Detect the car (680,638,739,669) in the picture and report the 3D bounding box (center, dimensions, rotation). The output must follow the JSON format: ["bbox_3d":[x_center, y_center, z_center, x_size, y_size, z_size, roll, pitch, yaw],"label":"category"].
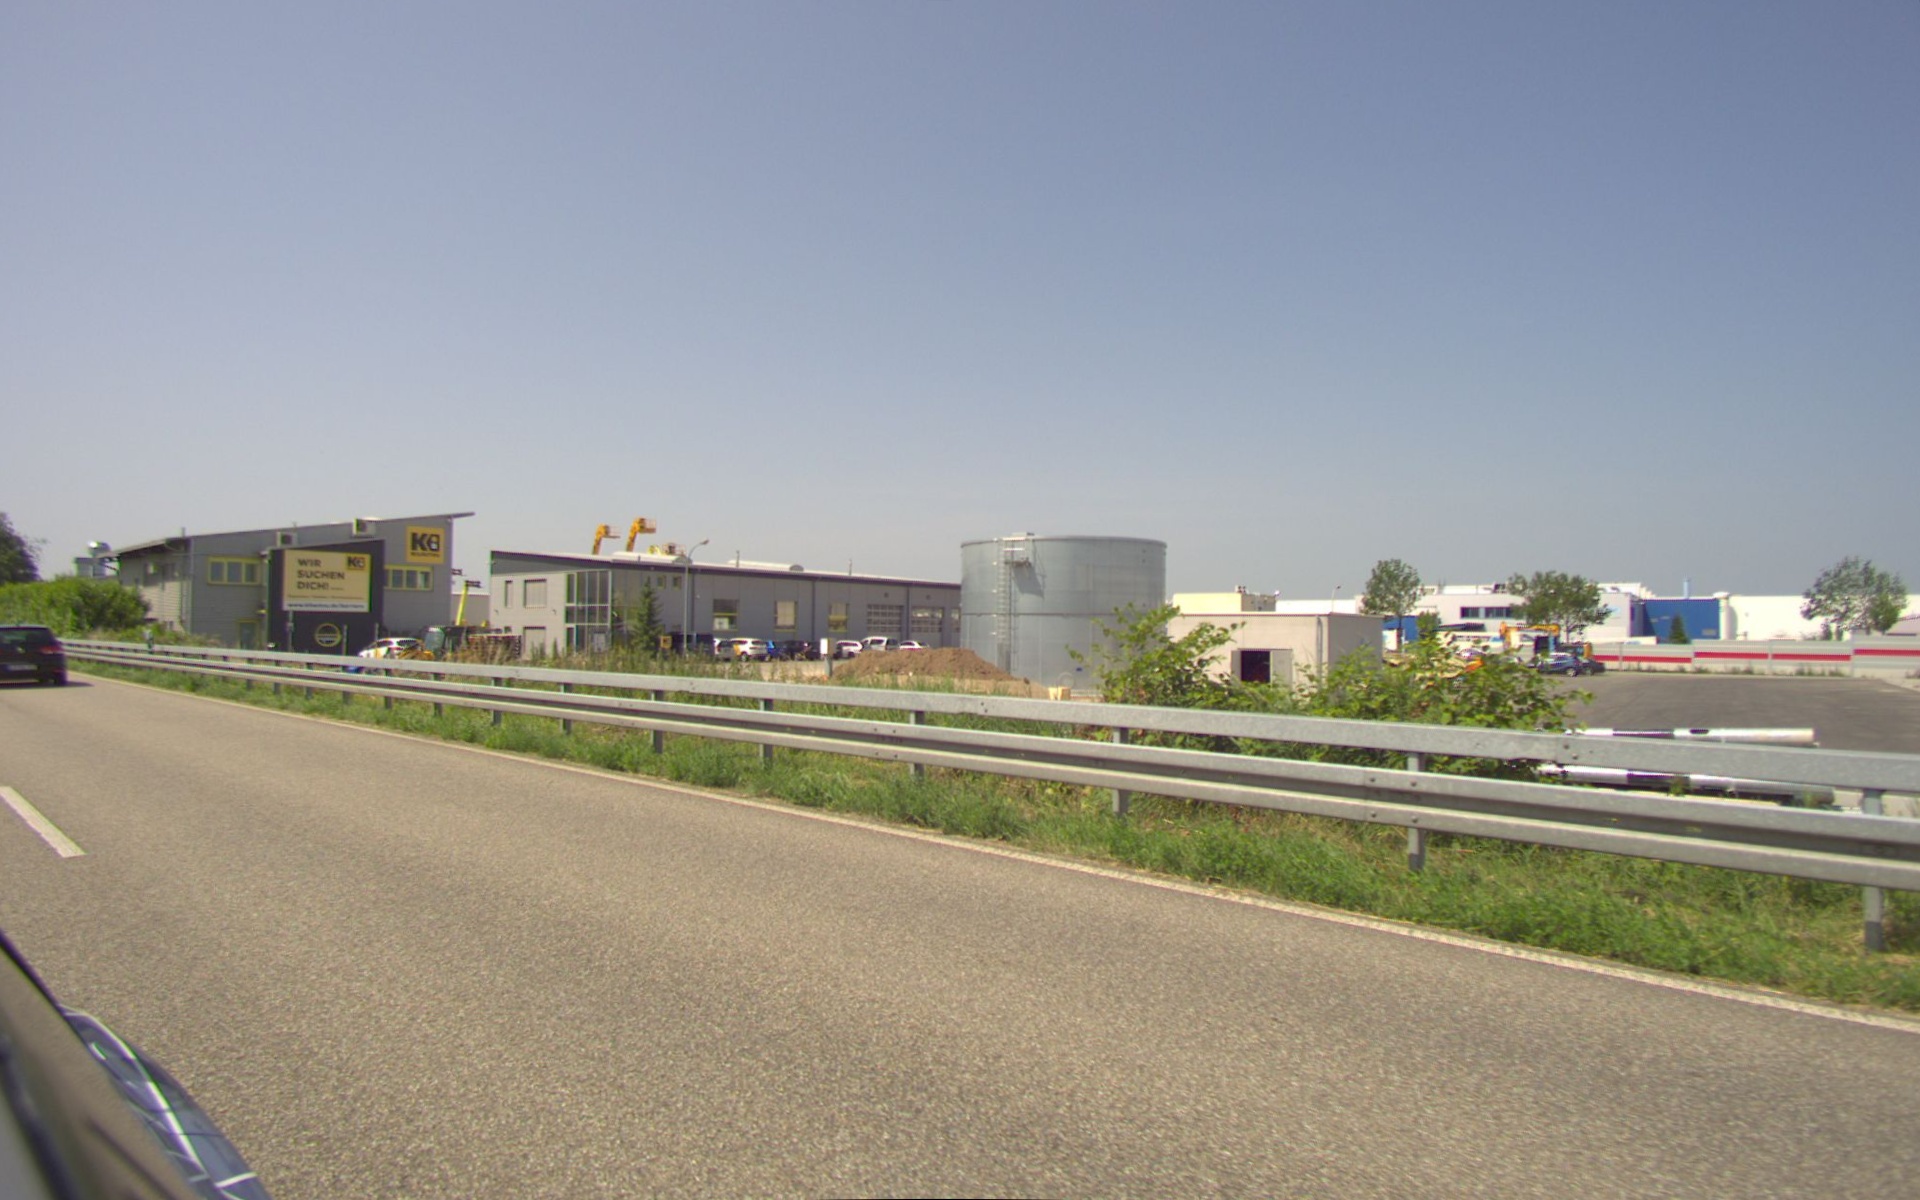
[{"bbox_3d":[-17.012,3.602,68.666,3.997,2.029,1.973,-1,-2,40],"label":"car"}]

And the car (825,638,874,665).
[{"bbox_3d":[-8.695,4.007,79.484,3.688,2.029,1.810,-1,-4,42],"label":"car"}]

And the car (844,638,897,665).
[{"bbox_3d":[-7.218,4.132,81.381,3.997,2.029,1.973,-1,-1,40],"label":"car"}]

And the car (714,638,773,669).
[{"bbox_3d":[-15.188,3.732,70.899,3.997,2.029,1.973,-1,-3,40],"label":"car"}]

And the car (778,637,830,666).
[{"bbox_3d":[-11.502,3.753,74.452,3.688,2.029,1.810,-1,-4,42],"label":"car"}]

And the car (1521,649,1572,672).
[{"bbox_3d":[50.486,5.209,87.141,3.652,1.868,1.742,-1,-4,34],"label":"car"}]

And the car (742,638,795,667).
[{"bbox_3d":[-13.763,3.761,72.606,3.688,1.915,1.810,-1,-4,42],"label":"car"}]

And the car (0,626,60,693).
[{"bbox_3d":[-22.447,1.364,23.734,3.652,1.446,1.524,-2,-1,41],"label":"car"}]

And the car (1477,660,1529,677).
[{"bbox_3d":[42.708,5.399,79.672,3.486,1.252,1.482,-1,-4,34],"label":"car"}]

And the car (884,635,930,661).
[{"bbox_3d":[-4.487,4.007,84.884,3.599,2.029,1.810,-1,0,42],"label":"car"}]

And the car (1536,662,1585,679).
[{"bbox_3d":[45.954,5.390,77.457,3.115,1.175,1.481,-1,-4,35],"label":"car"}]

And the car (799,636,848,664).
[{"bbox_3d":[-10.430,3.821,77.209,3.526,2.029,1.810,-1,-4,42],"label":"car"}]

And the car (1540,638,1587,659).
[{"bbox_3d":[50.454,4.057,84.649,3.271,1.725,1.742,-1,-4,34],"label":"car"}]

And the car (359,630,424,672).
[{"bbox_3d":[-28.561,2.542,50.829,3.477,2.029,1.458,-1,-4,36],"label":"car"}]
